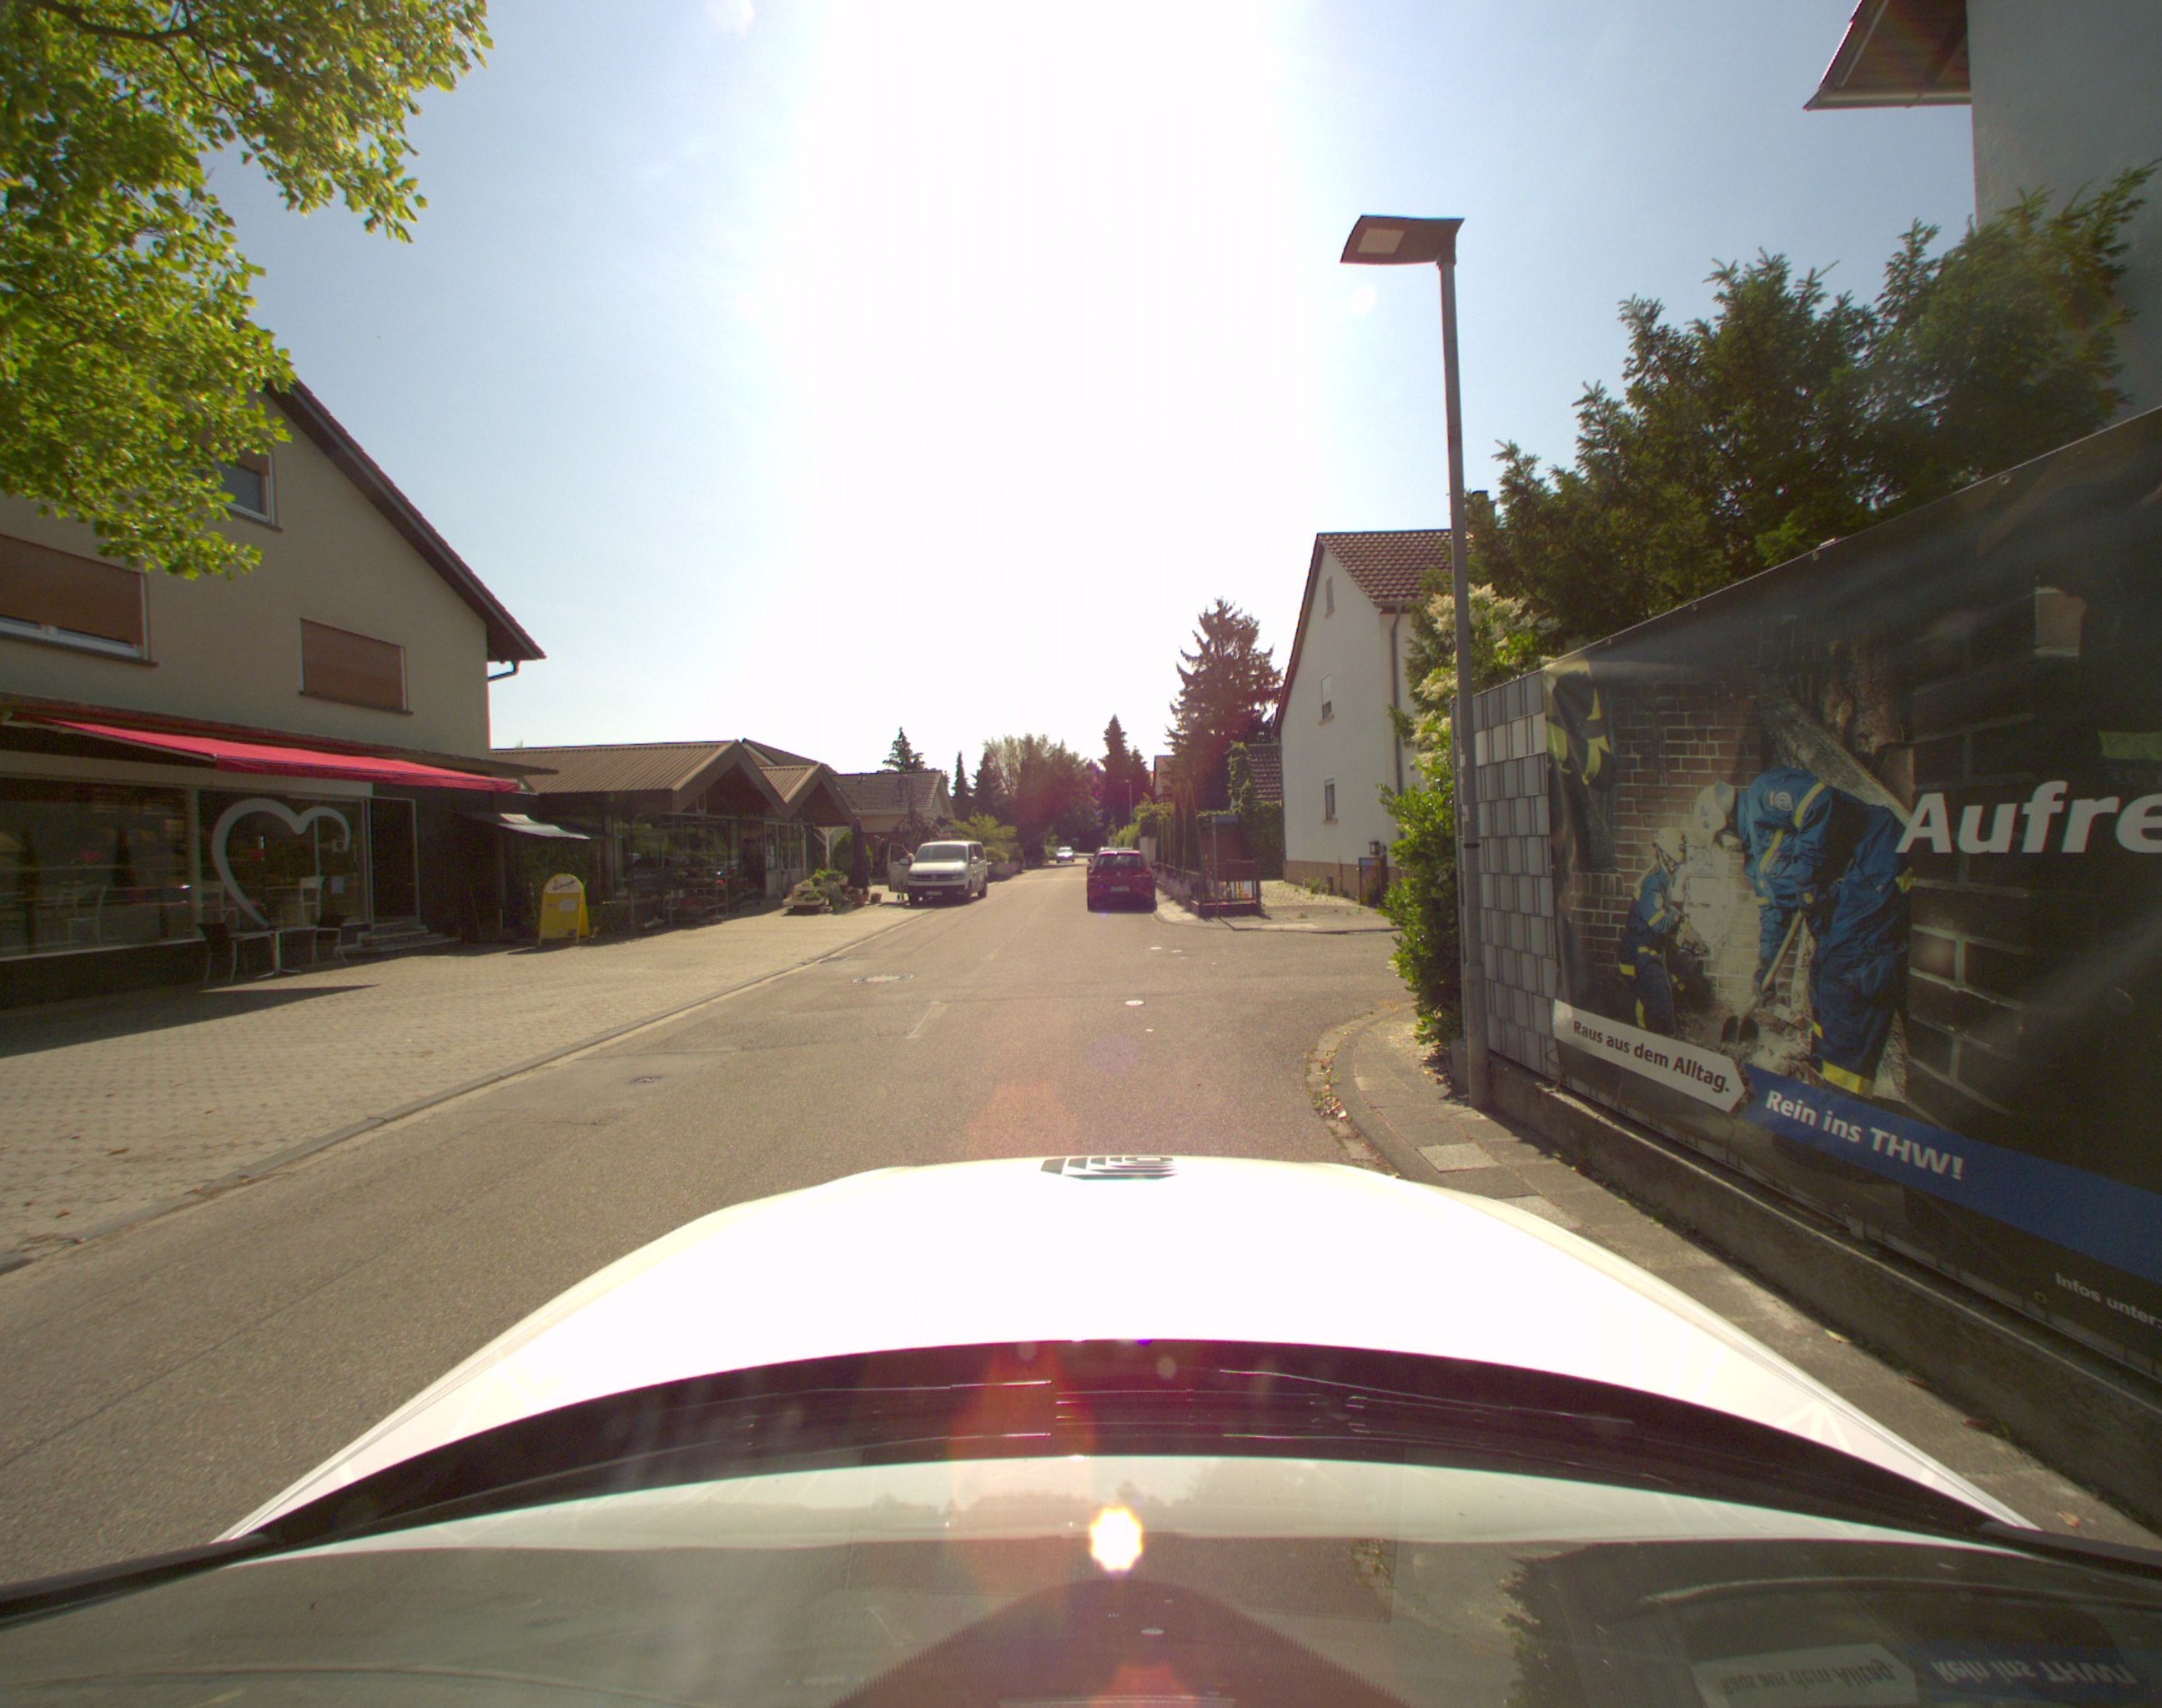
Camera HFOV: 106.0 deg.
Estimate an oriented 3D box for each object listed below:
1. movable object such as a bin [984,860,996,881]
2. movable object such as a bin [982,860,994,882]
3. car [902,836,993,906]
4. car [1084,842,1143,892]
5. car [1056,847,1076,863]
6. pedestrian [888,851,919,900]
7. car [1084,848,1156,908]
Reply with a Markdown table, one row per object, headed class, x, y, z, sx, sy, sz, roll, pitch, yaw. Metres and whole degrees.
| class | x | y | z | sx | sy | sz | roll | pitch | yaw |
| --- | --- | --- | --- | --- | --- | --- | --- | --- | --- |
| movable object such as a bin | -4.523 | 0.824 | 40.328 | 0.492 | 1.024 | 0.447 | -2 | 0 | 1 |
| movable object such as a bin | -4.537 | 0.835 | 39.858 | 0.492 | 1.024 | 0.447 | -2 | 0 | 1 |
| car | -4.236 | 0.479 | 26.691 | 1.921 | 2.013 | 4.899 | -2 | 0 | 3 |
| car | 1.102 | 0.418 | 29.140 | 1.817 | 1.615 | 3.997 | -1 | 0 | -2 |
| car | -1.473 | 0.081 | 80.452 | 1.746 | 1.487 | 4.377 | -2 | 0 | 2 |
| pedestrian | -5.796 | 0.702 | 26.582 | 0.710 | 1.538 | 0.646 | -1 | 1 | 34 |
| car | 1.123 | 0.577 | 22.296 | 1.767 | 1.479 | 4.005 | 0 | 0 | 4 |
